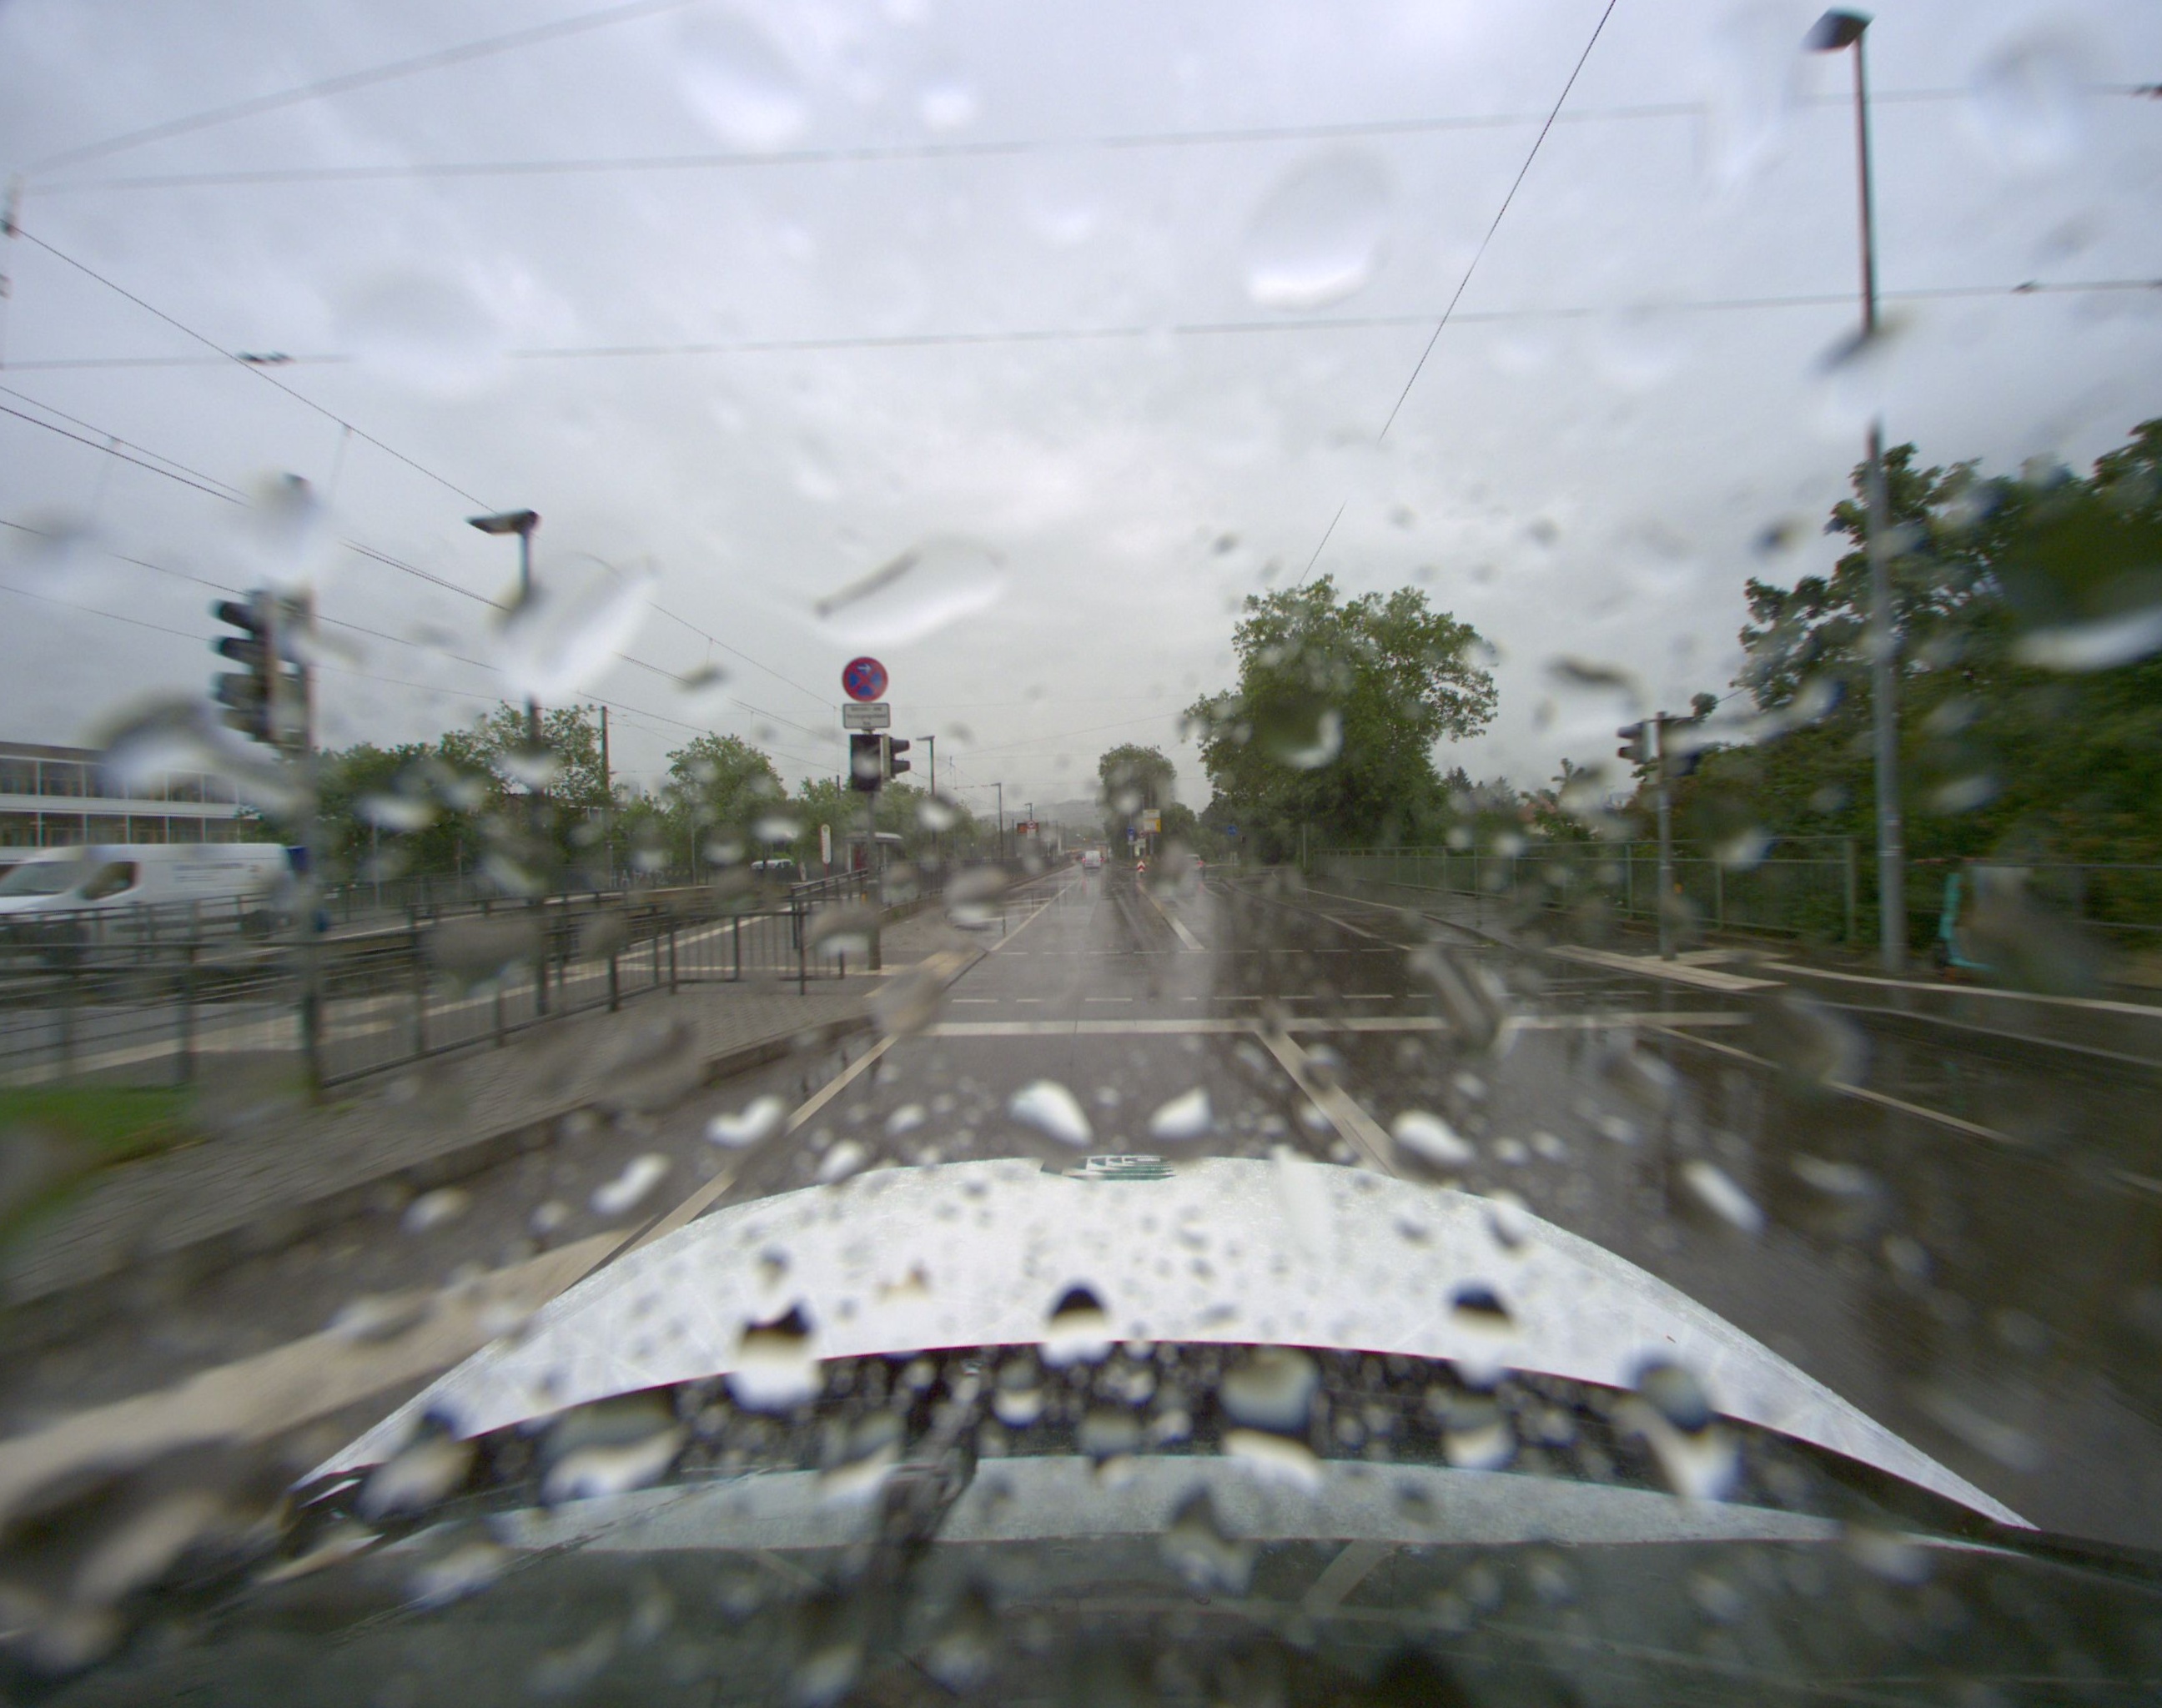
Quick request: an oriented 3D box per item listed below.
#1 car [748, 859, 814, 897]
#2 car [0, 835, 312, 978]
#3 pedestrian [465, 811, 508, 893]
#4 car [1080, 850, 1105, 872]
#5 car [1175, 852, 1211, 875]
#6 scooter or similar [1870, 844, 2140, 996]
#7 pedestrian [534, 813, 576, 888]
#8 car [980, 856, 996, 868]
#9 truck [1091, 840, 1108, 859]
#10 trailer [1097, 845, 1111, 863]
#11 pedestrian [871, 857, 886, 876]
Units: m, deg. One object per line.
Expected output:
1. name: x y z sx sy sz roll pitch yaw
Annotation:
1. car: -17.481 1.362 47.684 1.986 2.013 4.755 -1 0 1
2. car: -21.237 1.011 18.398 2.112 2.712 5.741 -1 0 2
3. pedestrian: -29.955 -0.094 41.042 1.169 4.029 1.514 -1 -1 -10
4. car: 1.028 0.621 72.884 1.988 1.849 3.997 -1 0 -2
5. car: 7.627 0.625 55.035 1.874 1.431 4.017 -1 0 16
6. scooter or similar: 8.728 0.572 7.816 0.755 1.293 1.649 -1 -1 4
7. pedestrian: -28.613 -0.171 44.303 1.157 4.029 1.529 -1 -1 29
8. car: -15.065 1.281 131.646 1.986 2.014 4.002 -1 -1 2
9. truck: 3.762 -0.788 164.293 2.769 3.704 9.843 -1 0 -2
10. trailer: 3.771 0.034 133.294 2.157 2.757 5.681 -1 -1 3
11. pedestrian: -14.283 0.880 57.347 0.828 1.316 0.858 0 0 1
